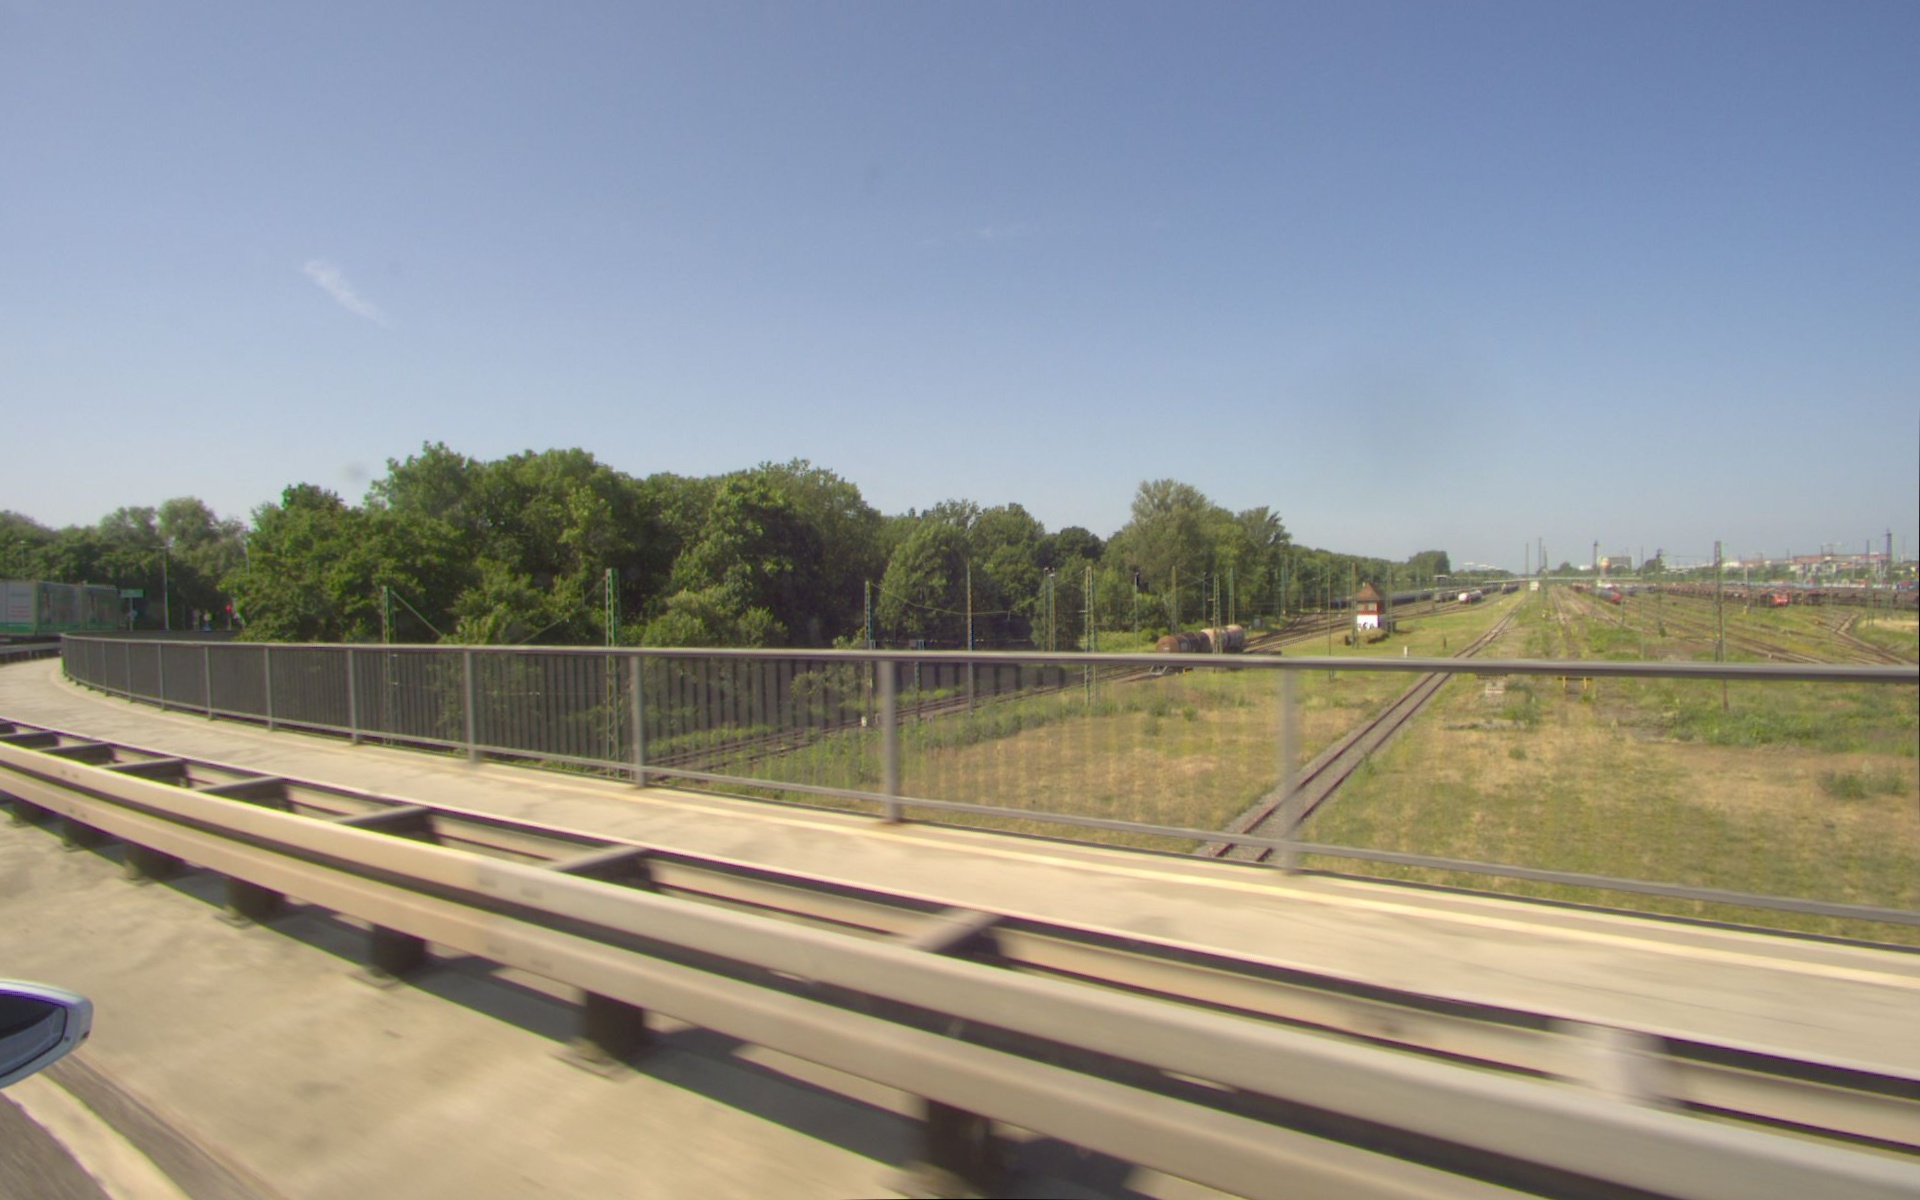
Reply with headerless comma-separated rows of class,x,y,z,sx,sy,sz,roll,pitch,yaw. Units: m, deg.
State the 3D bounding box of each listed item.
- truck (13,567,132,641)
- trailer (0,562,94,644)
truck,-50.775,0.320,57.600,3.224,3.806,8.330,3,-2,-29
trailer,-46.880,0.180,50.487,3.189,3.806,7.787,3,-2,-29
